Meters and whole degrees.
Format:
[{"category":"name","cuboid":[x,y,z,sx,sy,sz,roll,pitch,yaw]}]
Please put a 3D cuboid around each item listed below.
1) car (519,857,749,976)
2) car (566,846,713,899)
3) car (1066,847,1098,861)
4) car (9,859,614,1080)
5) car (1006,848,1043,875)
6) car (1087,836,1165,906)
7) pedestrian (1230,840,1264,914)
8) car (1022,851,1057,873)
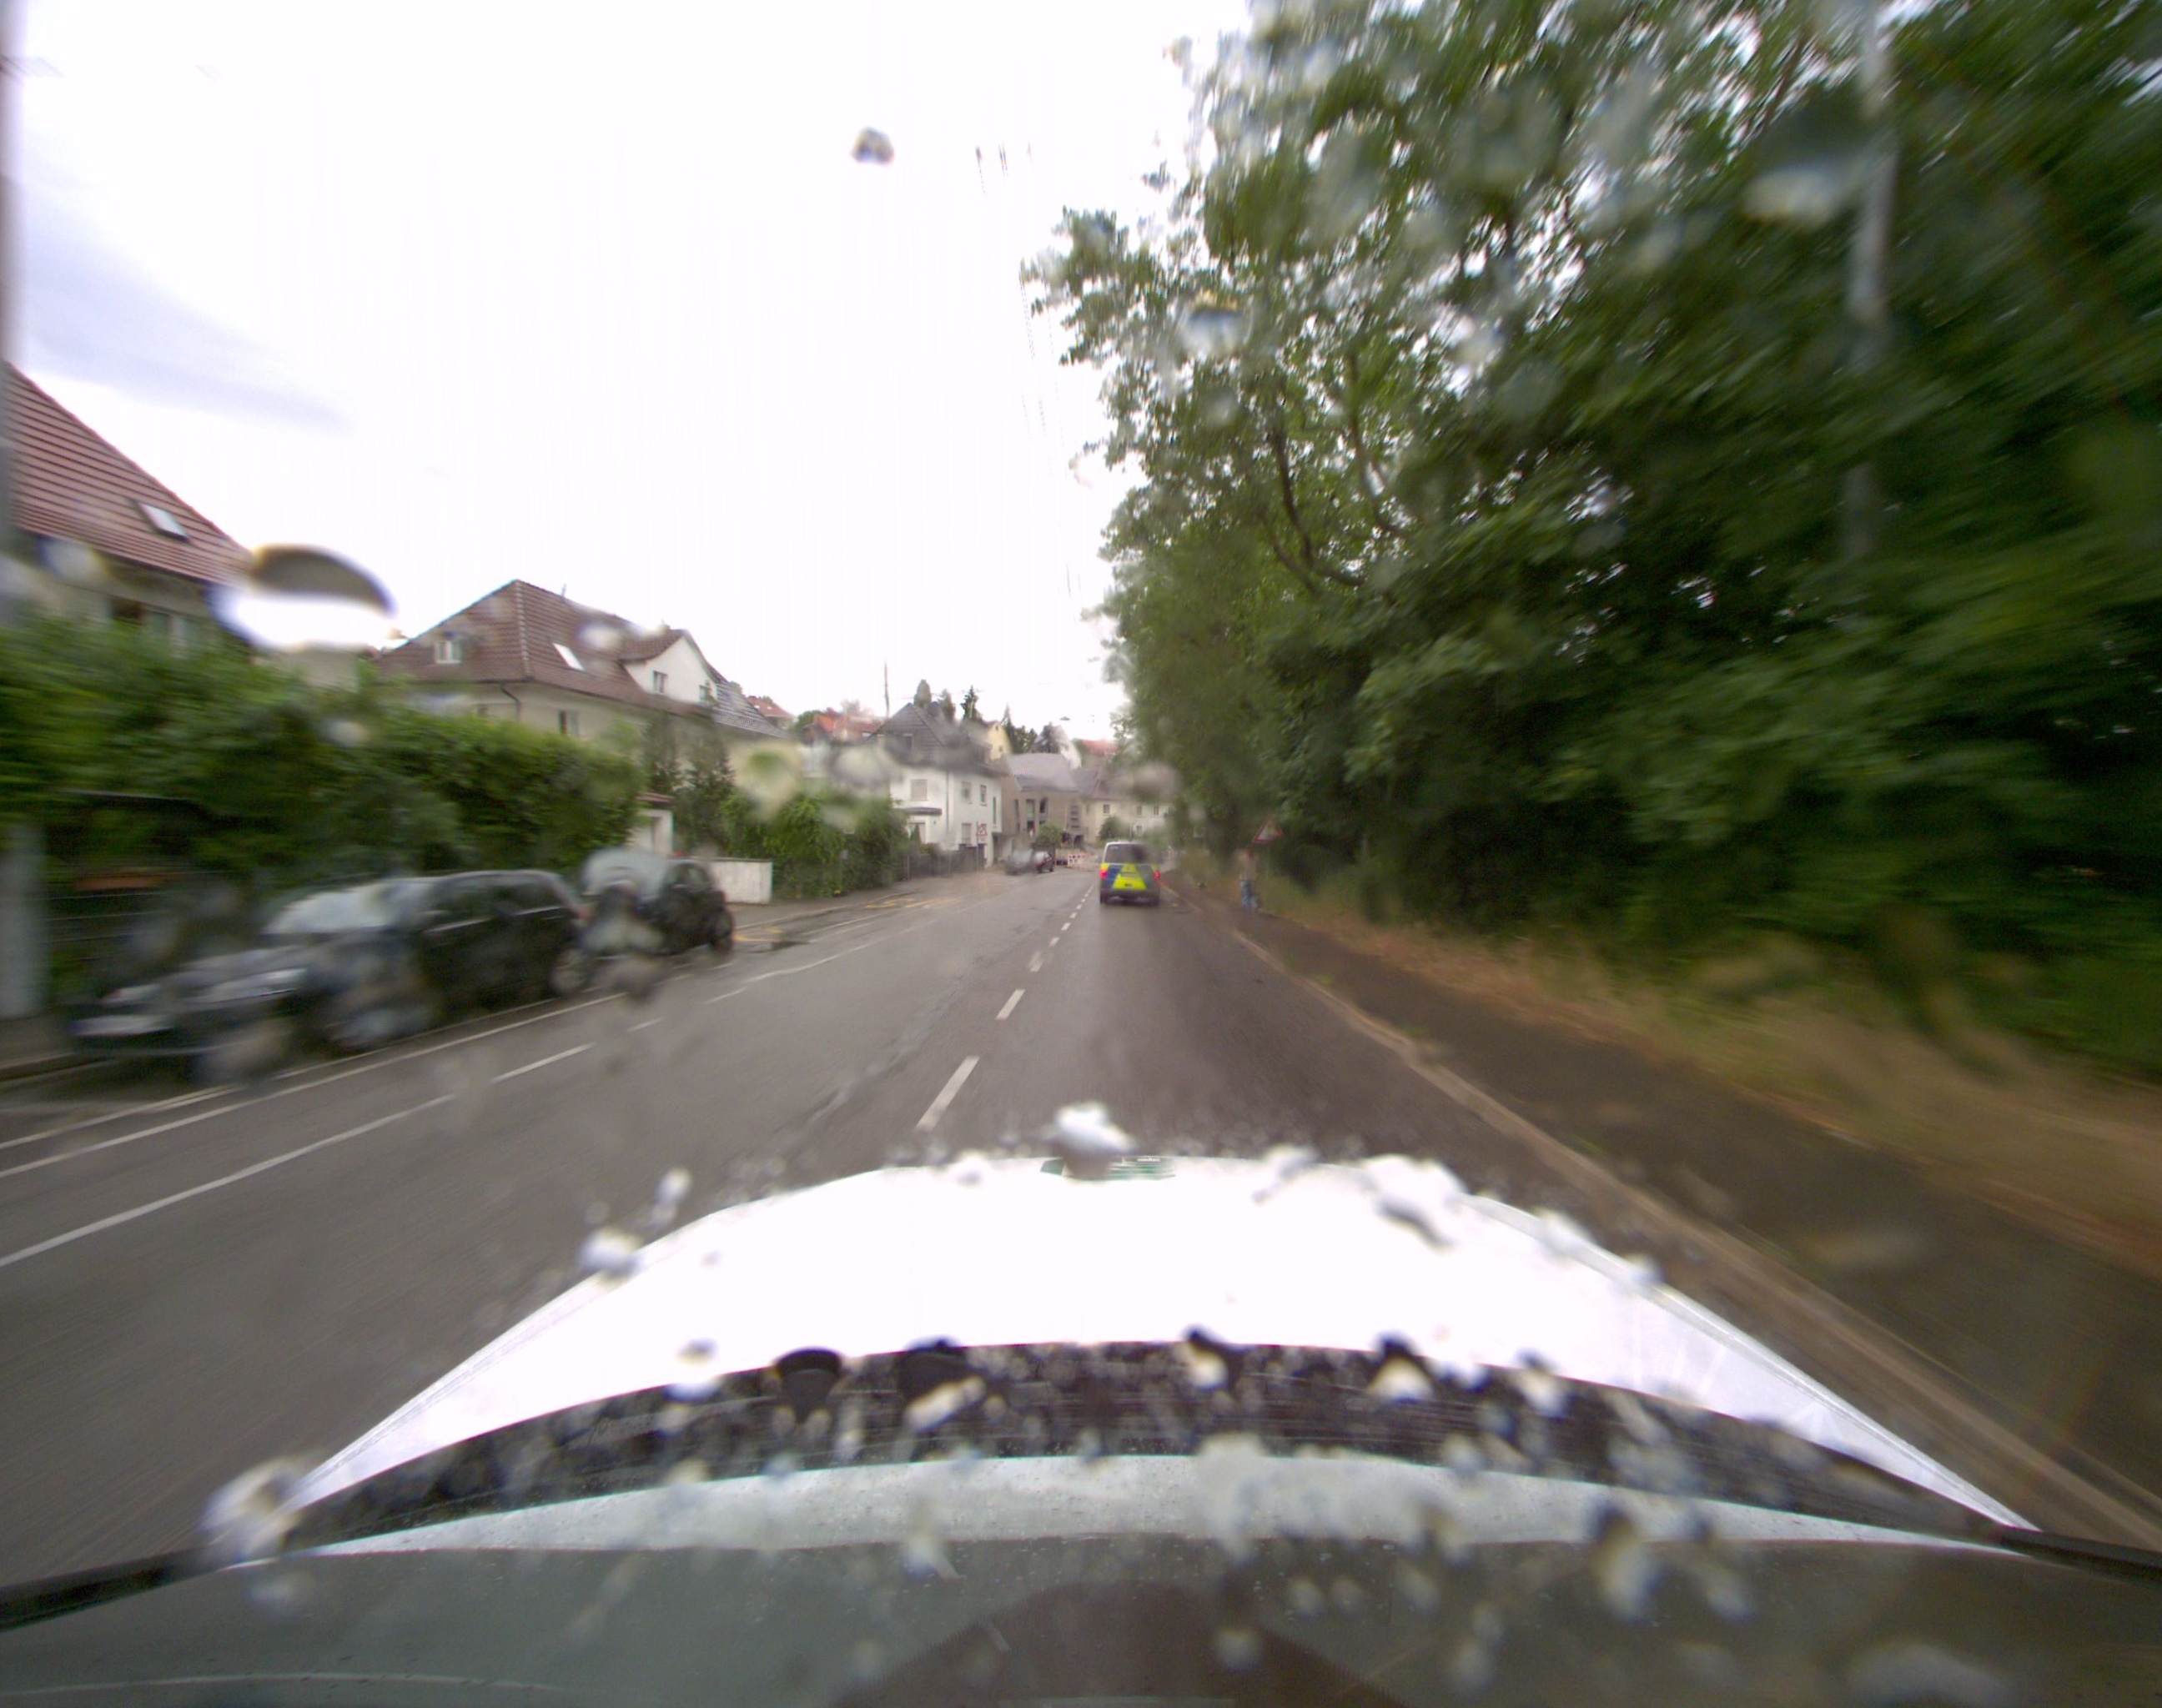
[{"category":"car","cuboid":[-6.334,0.804,11.920,1.513,1.454,3.032,-1,0,3]},{"category":"car","cuboid":[-13.727,0.567,25.457,3.629,1.423,1.635,3,-1,2]},{"category":"car","cuboid":[0.082,-0.003,95.020,1.847,1.443,3.957,0,1,-35]},{"category":"car","cuboid":[-6.527,0.813,7.738,1.682,1.418,4.215,-1,0,0]},{"category":"car","cuboid":[-3.699,0.482,53.868,1.746,1.658,4.411,-1,1,5]},{"category":"car","cuboid":[1.348,0.462,26.187,1.989,2.013,4.397,-1,1,-3]},{"category":"pedestrian","cuboid":[3.678,0.503,18.080,0.639,1.611,0.670,0,-1,1]},{"category":"car","cuboid":[-2.971,0.558,59.184,1.606,1.440,4.243,1,1,10]}]
